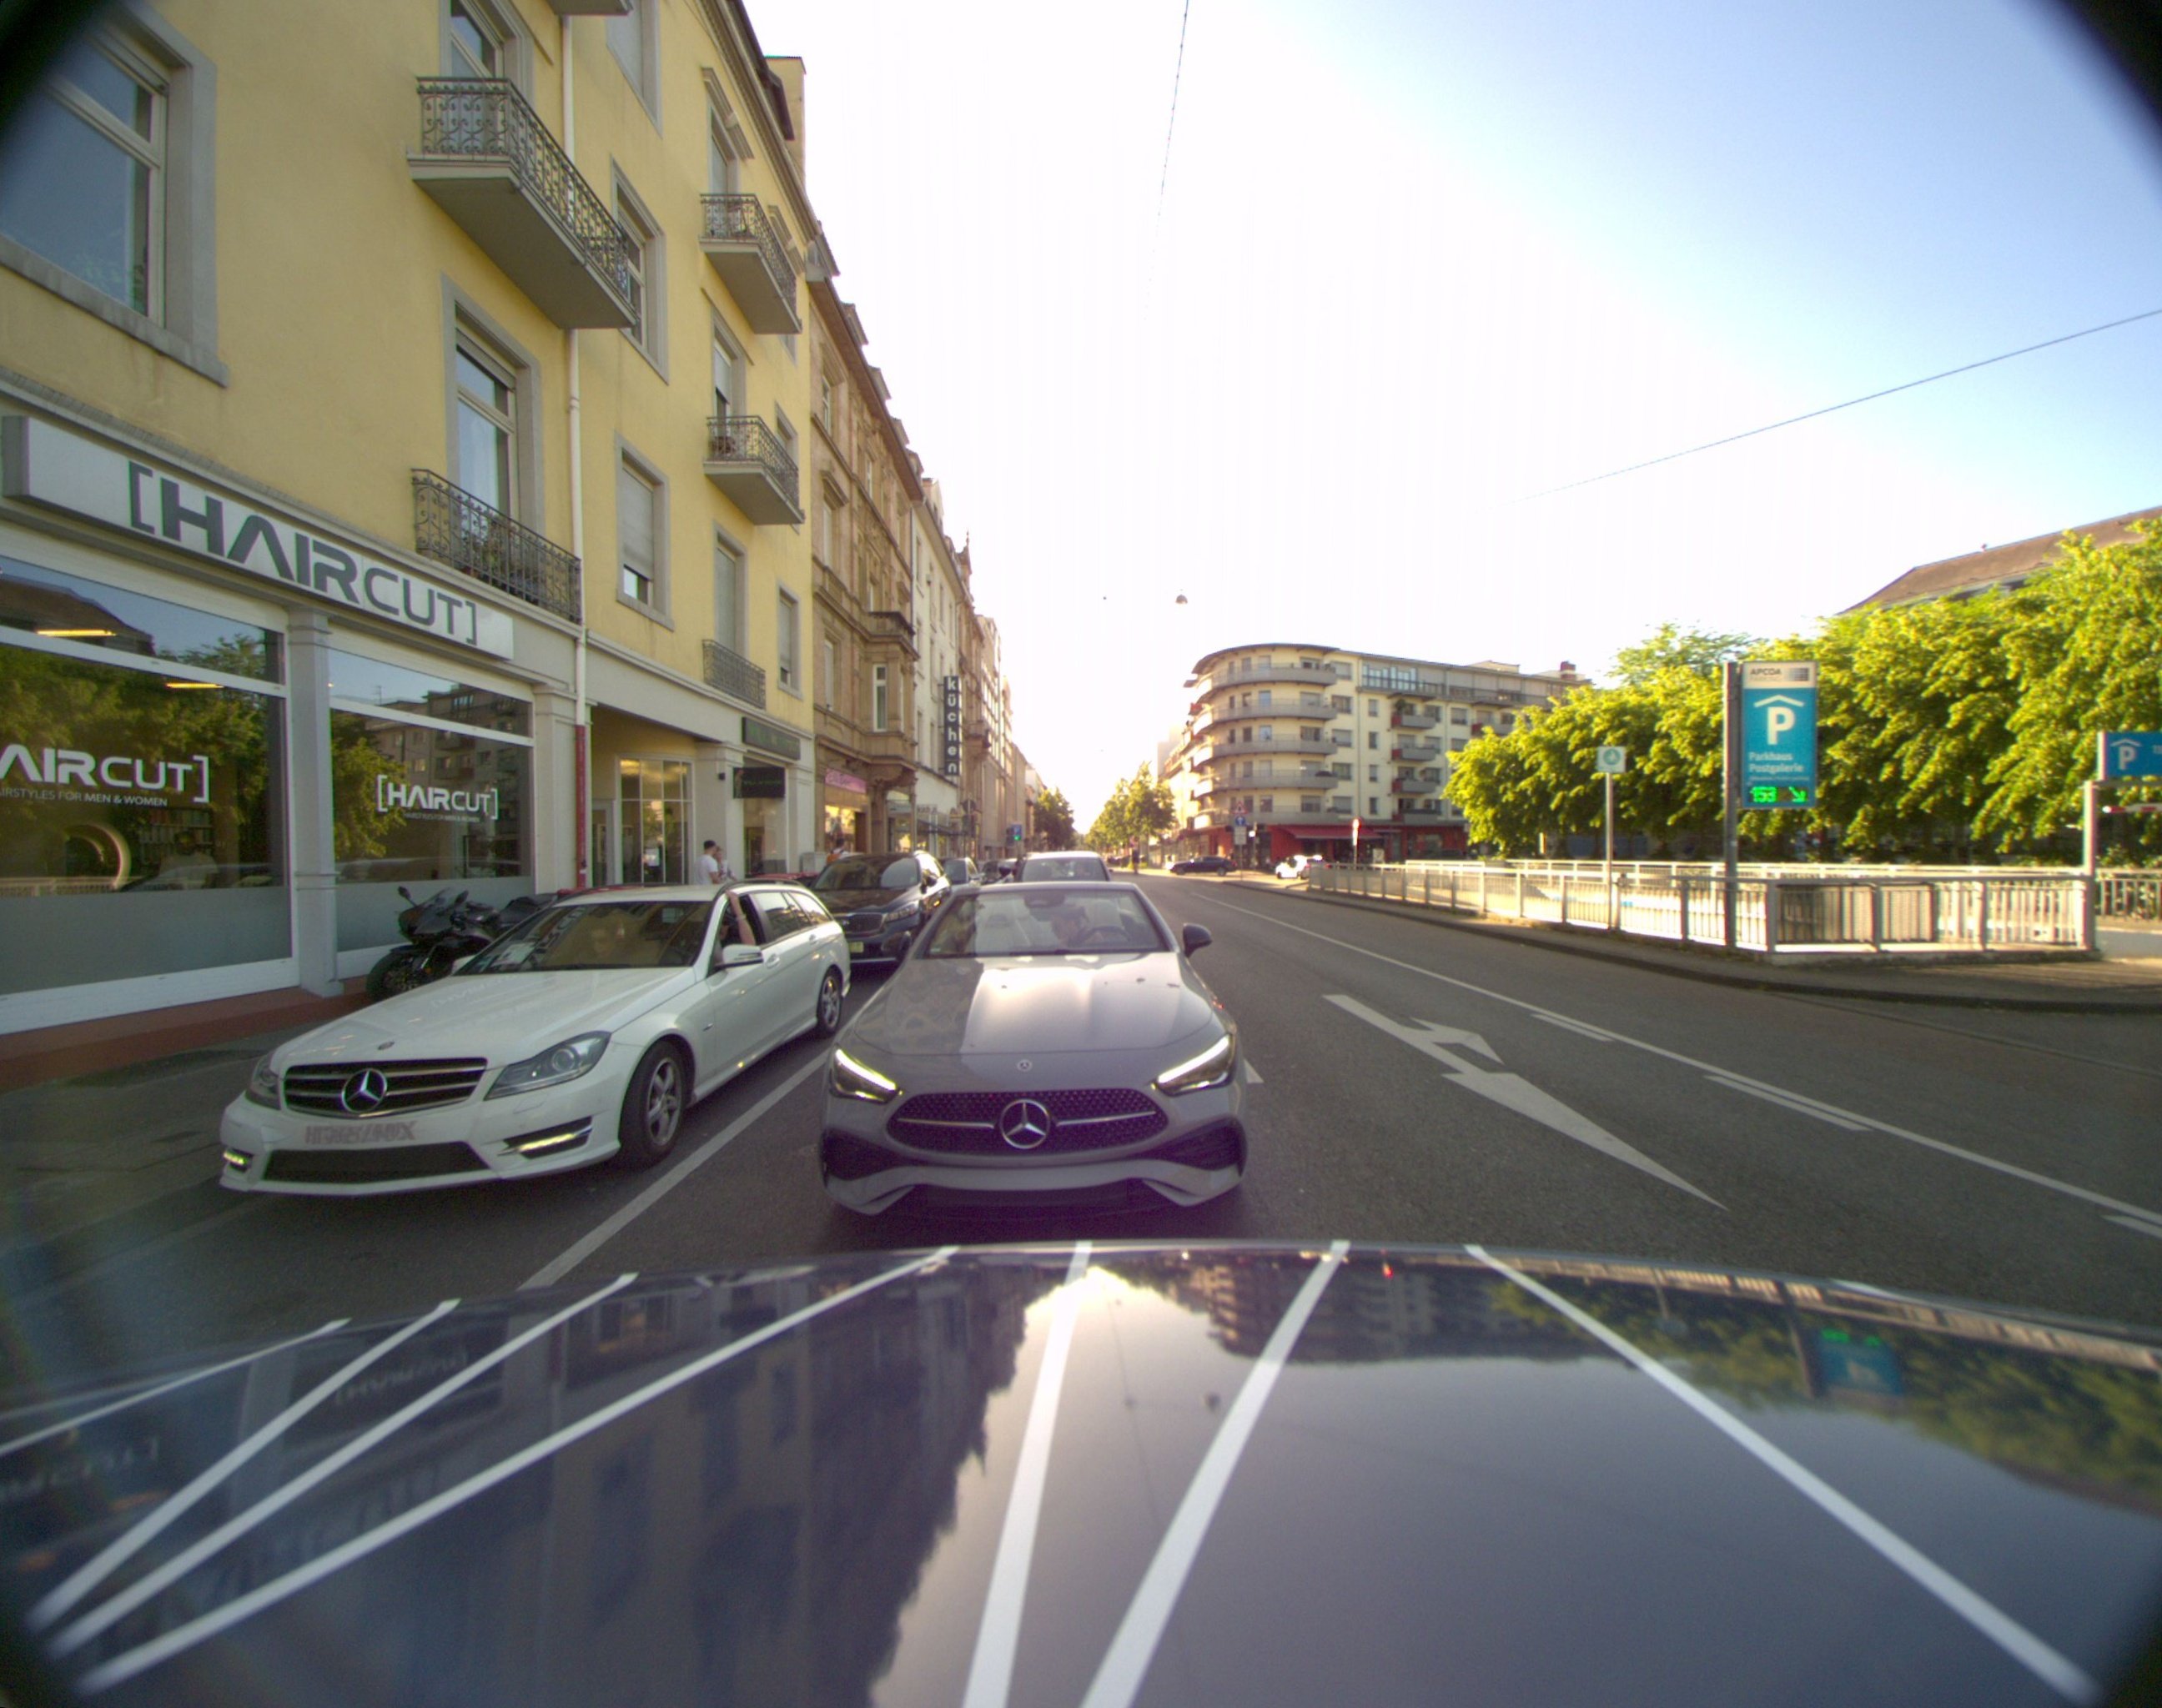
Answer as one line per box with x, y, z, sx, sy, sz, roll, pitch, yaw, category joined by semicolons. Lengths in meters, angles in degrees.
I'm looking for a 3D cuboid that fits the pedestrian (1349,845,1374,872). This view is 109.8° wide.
21.815;0.333;59.104;1.234;2.002;1.259;-2;1;-21;pedestrian

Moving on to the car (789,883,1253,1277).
-0.260;1.004;5.236;1.849;1.371;4.255;-2;0;-1;car

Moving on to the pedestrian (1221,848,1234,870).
11.600;0.406;60.023;0.697;1.696;0.676;-1;1;44;pedestrian

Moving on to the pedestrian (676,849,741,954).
-5.888;0.725;12.037;0.642;1.607;0.701;-1;1;-1;pedestrian

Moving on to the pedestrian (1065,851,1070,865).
-1.732;0.469;97.791;0.467;1.769;0.567;-2;1;-29;pedestrian

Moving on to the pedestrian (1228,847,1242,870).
12.206;0.363;60.380;0.756;1.795;0.755;-2;1;-41;pedestrian

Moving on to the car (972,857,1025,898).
-3.260;0.885;30.713;1.715;1.477;3.999;-1;0;0;car

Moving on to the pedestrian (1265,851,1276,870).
15.045;0.502;60.260;0.791;1.452;0.583;-1;1;10;pedestrian

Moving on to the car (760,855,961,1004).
-2.969;0.887;11.337;1.858;1.688;4.697;-1;0;-4;car

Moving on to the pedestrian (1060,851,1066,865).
-2.326;0.512;97.393;0.528;1.875;0.567;-2;1;-29;pedestrian

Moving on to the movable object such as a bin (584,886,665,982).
-6.063;1.048;10.127;0.647;1.200;0.644;-1;1;1;movable object such as a bin

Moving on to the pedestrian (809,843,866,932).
-4.603;0.617;14.410;0.795;1.607;0.763;-1;1;-1;pedestrian

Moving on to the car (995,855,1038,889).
-3.056;0.809;36.468;1.715;1.477;3.999;-1;0;0;car

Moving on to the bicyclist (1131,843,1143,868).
3.947;0.106;53.075;0.757;1.651;1.144;-2;1;5;bicyclist

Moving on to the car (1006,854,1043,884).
-2.988;0.760;40.986;1.715;1.477;3.999;-1;0;0;car

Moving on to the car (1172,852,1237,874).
8.568;0.604;52.644;4.282;1.375;2.002;-1;0;13;car

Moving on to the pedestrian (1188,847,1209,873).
9.201;0.469;59.351;1.202;2.002;1.018;-3;1;-37;pedestrian

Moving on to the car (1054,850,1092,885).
-0.373;0.702;41.688;1.952;1.742;4.000;-1;0;1;car

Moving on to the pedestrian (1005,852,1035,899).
-2.210;0.759;27.573;0.695;1.657;0.832;-2;1;-42;pedestrian

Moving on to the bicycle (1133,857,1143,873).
3.944;0.746;52.955;0.661;1.083;1.971;-1;0;4;bicycle

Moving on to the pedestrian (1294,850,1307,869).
17.682;0.442;61.143;0.583;1.453;0.790;-2;1;-37;pedestrian

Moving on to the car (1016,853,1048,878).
-3.031;0.688;47.581;1.715;1.477;4.062;-1;0;0;car

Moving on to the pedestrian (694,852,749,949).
-6.110;0.775;12.935;0.572;1.607;0.643;-1;1;2;pedestrian

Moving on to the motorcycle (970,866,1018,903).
-3.062;1.044;26.775;0.769;1.225;1.546;-1;1;42;motorcycle

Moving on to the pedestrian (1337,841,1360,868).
19.760;0.035;56.111;1.316;2.002;1.298;-1;1;32;pedestrian

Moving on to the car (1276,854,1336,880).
13.236;0.752;44.990;1.803;1.426;4.248;-1;0;-8;car

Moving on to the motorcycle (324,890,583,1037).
-6.265;1.018;7.813;0.773;1.158;2.247;1;0;1;motorcycle

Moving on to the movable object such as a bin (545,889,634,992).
-6.112;1.058;9.475;0.647;1.200;0.644;-1;1;1;movable object such as a bin

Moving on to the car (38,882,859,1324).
-3.079;1.040;5.205;1.759;1.453;4.597;-1;0;0;car

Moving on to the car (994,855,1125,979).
-0.255;0.846;12.165;1.716;1.599;4.000;-1;0;1;car

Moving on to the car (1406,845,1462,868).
29.026;0.179;62.441;4.004;1.740;1.996;-2;1;-23;car

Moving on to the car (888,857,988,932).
-3.285;0.887;17.952;1.696;1.559;3.018;-1;0;1;car

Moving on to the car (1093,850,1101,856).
4.465;-0.287;212.564;1.998;1.805;4.000;-1;0;1;car
